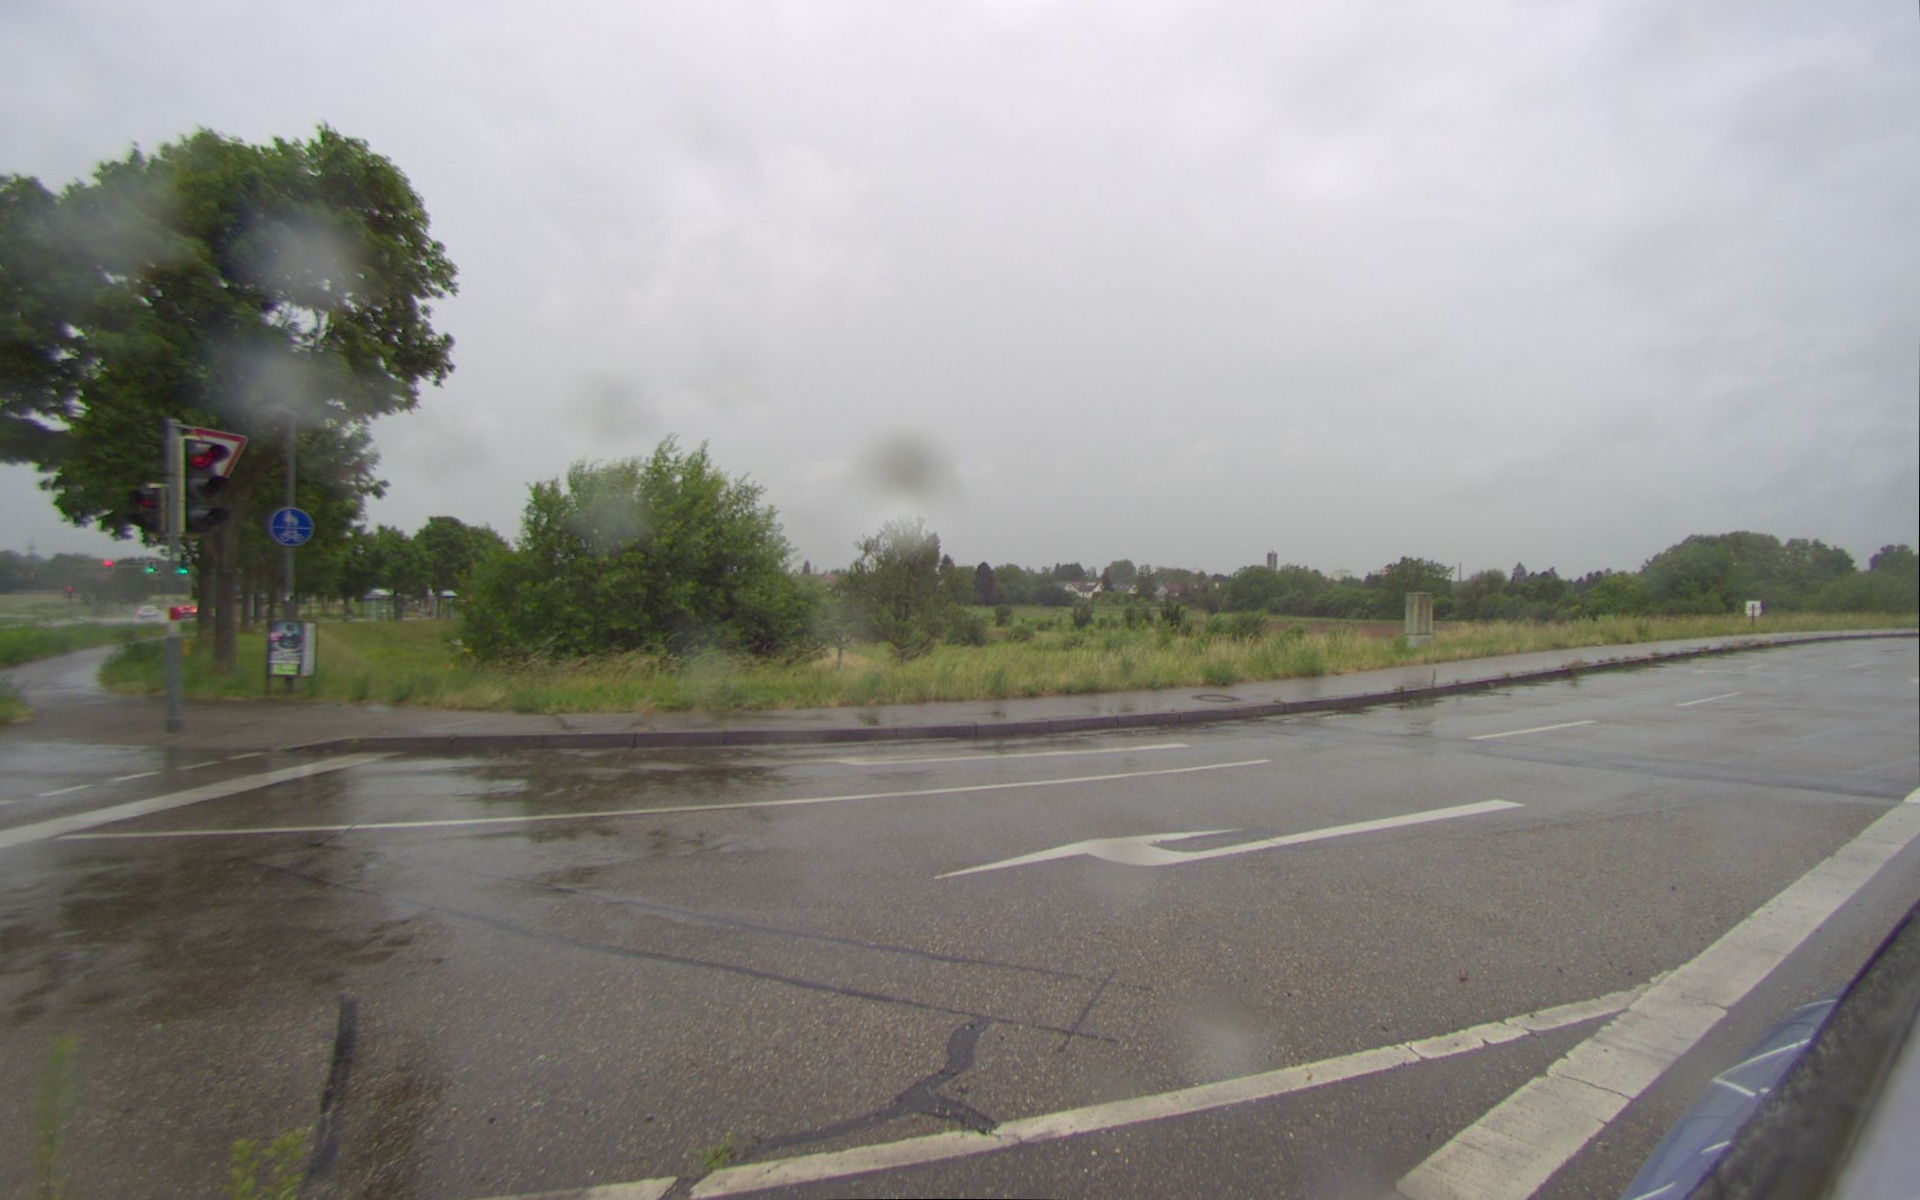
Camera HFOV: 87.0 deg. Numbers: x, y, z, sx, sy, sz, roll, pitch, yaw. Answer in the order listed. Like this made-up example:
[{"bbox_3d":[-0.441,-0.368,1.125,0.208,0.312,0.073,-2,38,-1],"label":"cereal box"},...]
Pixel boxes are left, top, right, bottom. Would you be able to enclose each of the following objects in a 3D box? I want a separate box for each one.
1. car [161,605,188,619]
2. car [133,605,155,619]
[{"bbox_3d":[-85.539,1.255,110.227,1.843,1.371,4.055,0,1,-32],"label":"car"},{"bbox_3d":[-92.186,1.338,114.379,1.845,1.371,4.050,0,1,-37],"label":"car"}]
